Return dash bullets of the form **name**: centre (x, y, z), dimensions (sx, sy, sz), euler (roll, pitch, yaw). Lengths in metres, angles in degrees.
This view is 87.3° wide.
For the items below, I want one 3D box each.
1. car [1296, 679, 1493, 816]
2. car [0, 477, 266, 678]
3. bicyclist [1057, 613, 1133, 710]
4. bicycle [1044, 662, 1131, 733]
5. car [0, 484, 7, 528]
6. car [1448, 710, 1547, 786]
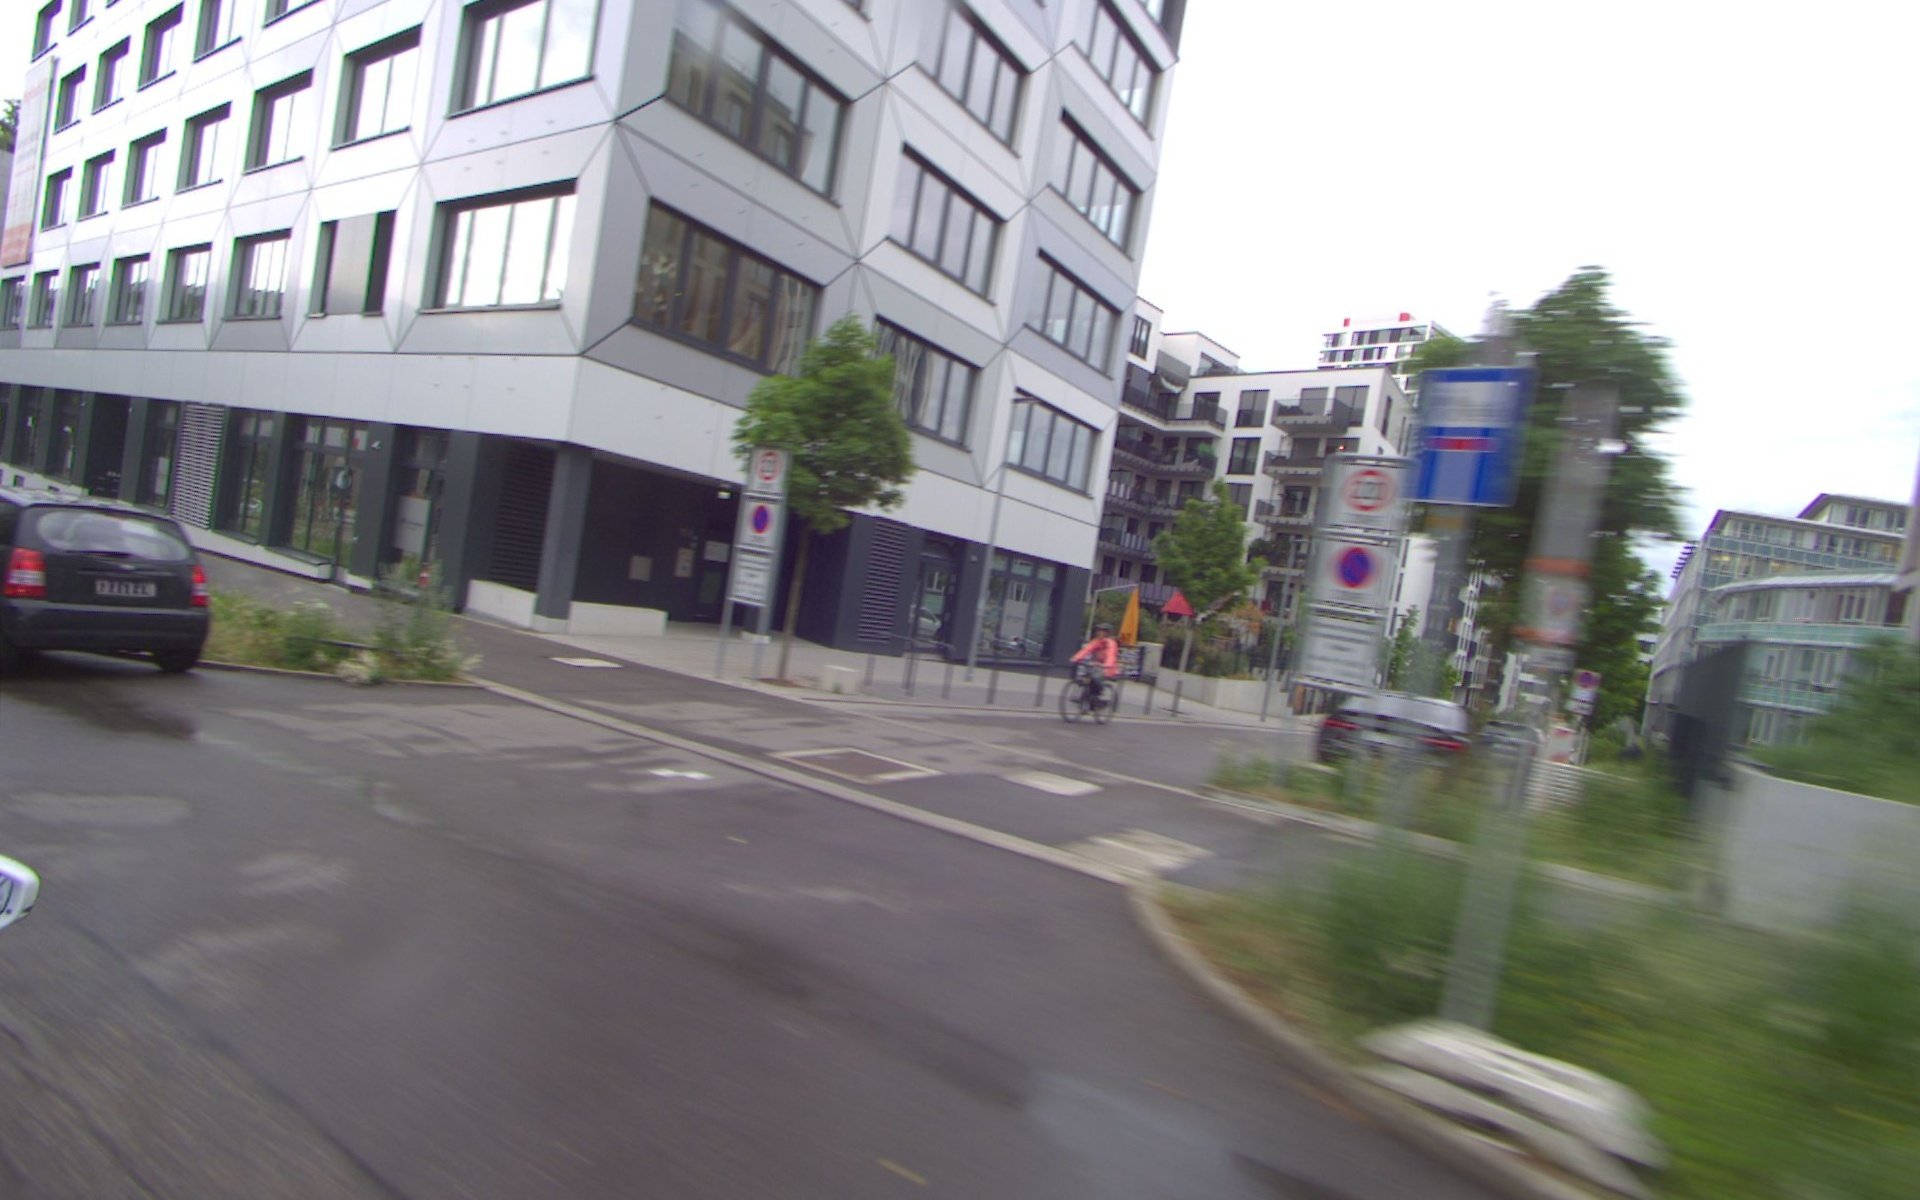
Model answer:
- **car**: centre (5.893, 1.901, 13.342), dimensions (1.700, 1.258, 4.239), euler (8, -2, 32)
- **car**: centre (-8.690, -0.369, 9.042), dimensions (3.981, 1.475, 2.052), euler (8, -1, 22)
- **bicyclist**: centre (2.347, 1.075, 17.416), dimensions (0.825, 1.520, 1.076), euler (8, -1, 24)
- **bicycle**: centre (2.228, 1.665, 17.235), dimensions (0.615, 1.032, 2.483), euler (8, -1, 25)
- **car**: centre (-12.793, -0.875, 11.238), dimensions (4.429, 1.481, 2.043), euler (8, -2, 33)
- **car**: centre (14.386, 3.877, 26.833), dimensions (1.828, 1.550, 3.837), euler (9, -1, 33)
